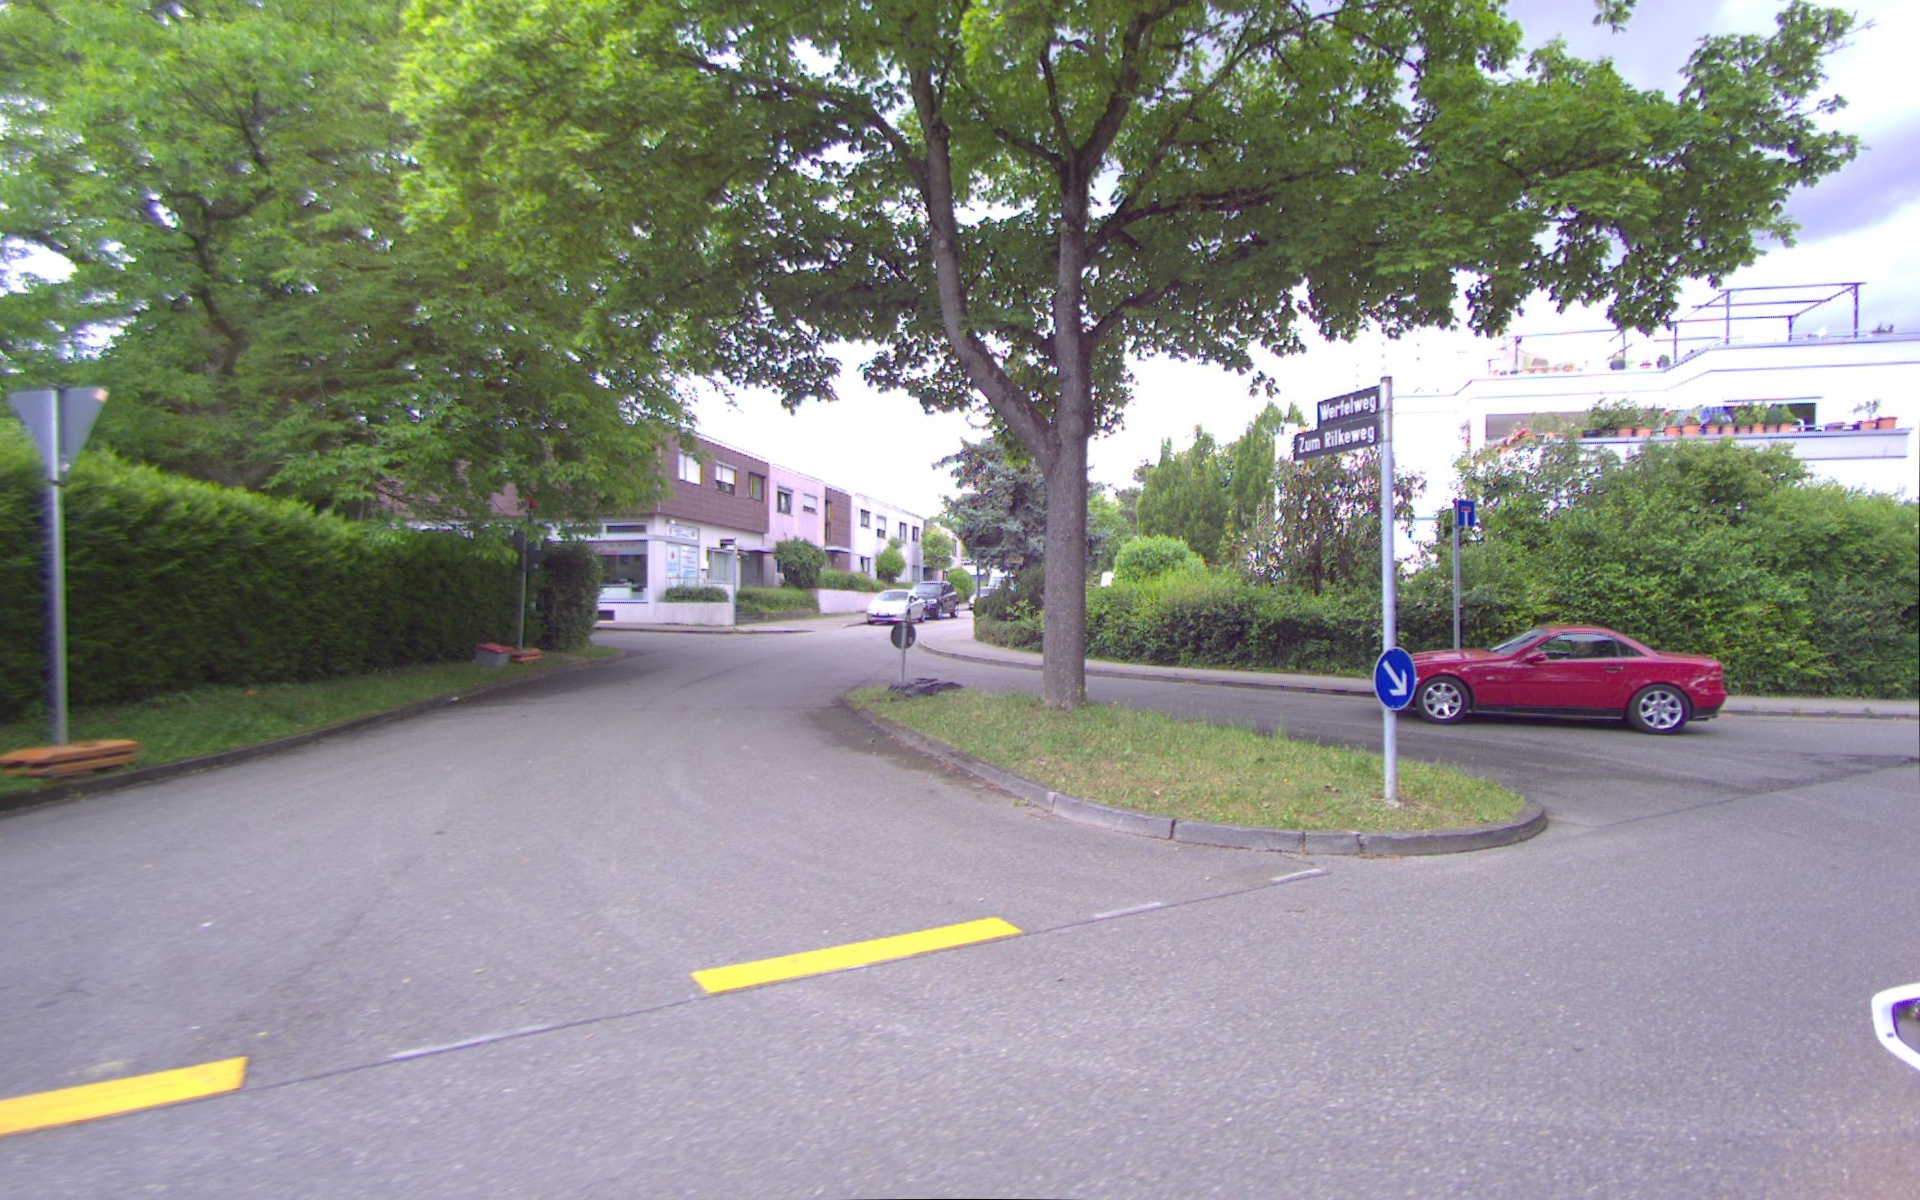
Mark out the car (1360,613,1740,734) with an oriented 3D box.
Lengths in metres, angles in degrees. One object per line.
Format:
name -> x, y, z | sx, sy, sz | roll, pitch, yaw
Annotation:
car -> 7.468, 0.878, 13.184 | 3.984, 1.353, 1.756 | 1, 0, 18

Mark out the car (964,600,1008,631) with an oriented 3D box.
car -> 1.656, 0.982, 61.917 | 1.724, 1.739, 4.002 | 0, -2, 16

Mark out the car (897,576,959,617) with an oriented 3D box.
car -> -1.432, -0.125, 47.139 | 1.724, 1.739, 4.002 | 0, -2, 16

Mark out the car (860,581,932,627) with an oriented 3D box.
car -> -2.618, 0.201, 41.925 | 1.724, 1.739, 4.002 | 0, -2, 16

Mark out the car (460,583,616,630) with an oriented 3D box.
car -> -13.501, 0.177, 32.233 | 4.192, 1.395, 2.001 | 1, 2, 13

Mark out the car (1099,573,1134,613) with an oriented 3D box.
car -> 13.399, -0.510, 85.732 | 2.403, 3.038, 6.877 | 0, -2, 14
